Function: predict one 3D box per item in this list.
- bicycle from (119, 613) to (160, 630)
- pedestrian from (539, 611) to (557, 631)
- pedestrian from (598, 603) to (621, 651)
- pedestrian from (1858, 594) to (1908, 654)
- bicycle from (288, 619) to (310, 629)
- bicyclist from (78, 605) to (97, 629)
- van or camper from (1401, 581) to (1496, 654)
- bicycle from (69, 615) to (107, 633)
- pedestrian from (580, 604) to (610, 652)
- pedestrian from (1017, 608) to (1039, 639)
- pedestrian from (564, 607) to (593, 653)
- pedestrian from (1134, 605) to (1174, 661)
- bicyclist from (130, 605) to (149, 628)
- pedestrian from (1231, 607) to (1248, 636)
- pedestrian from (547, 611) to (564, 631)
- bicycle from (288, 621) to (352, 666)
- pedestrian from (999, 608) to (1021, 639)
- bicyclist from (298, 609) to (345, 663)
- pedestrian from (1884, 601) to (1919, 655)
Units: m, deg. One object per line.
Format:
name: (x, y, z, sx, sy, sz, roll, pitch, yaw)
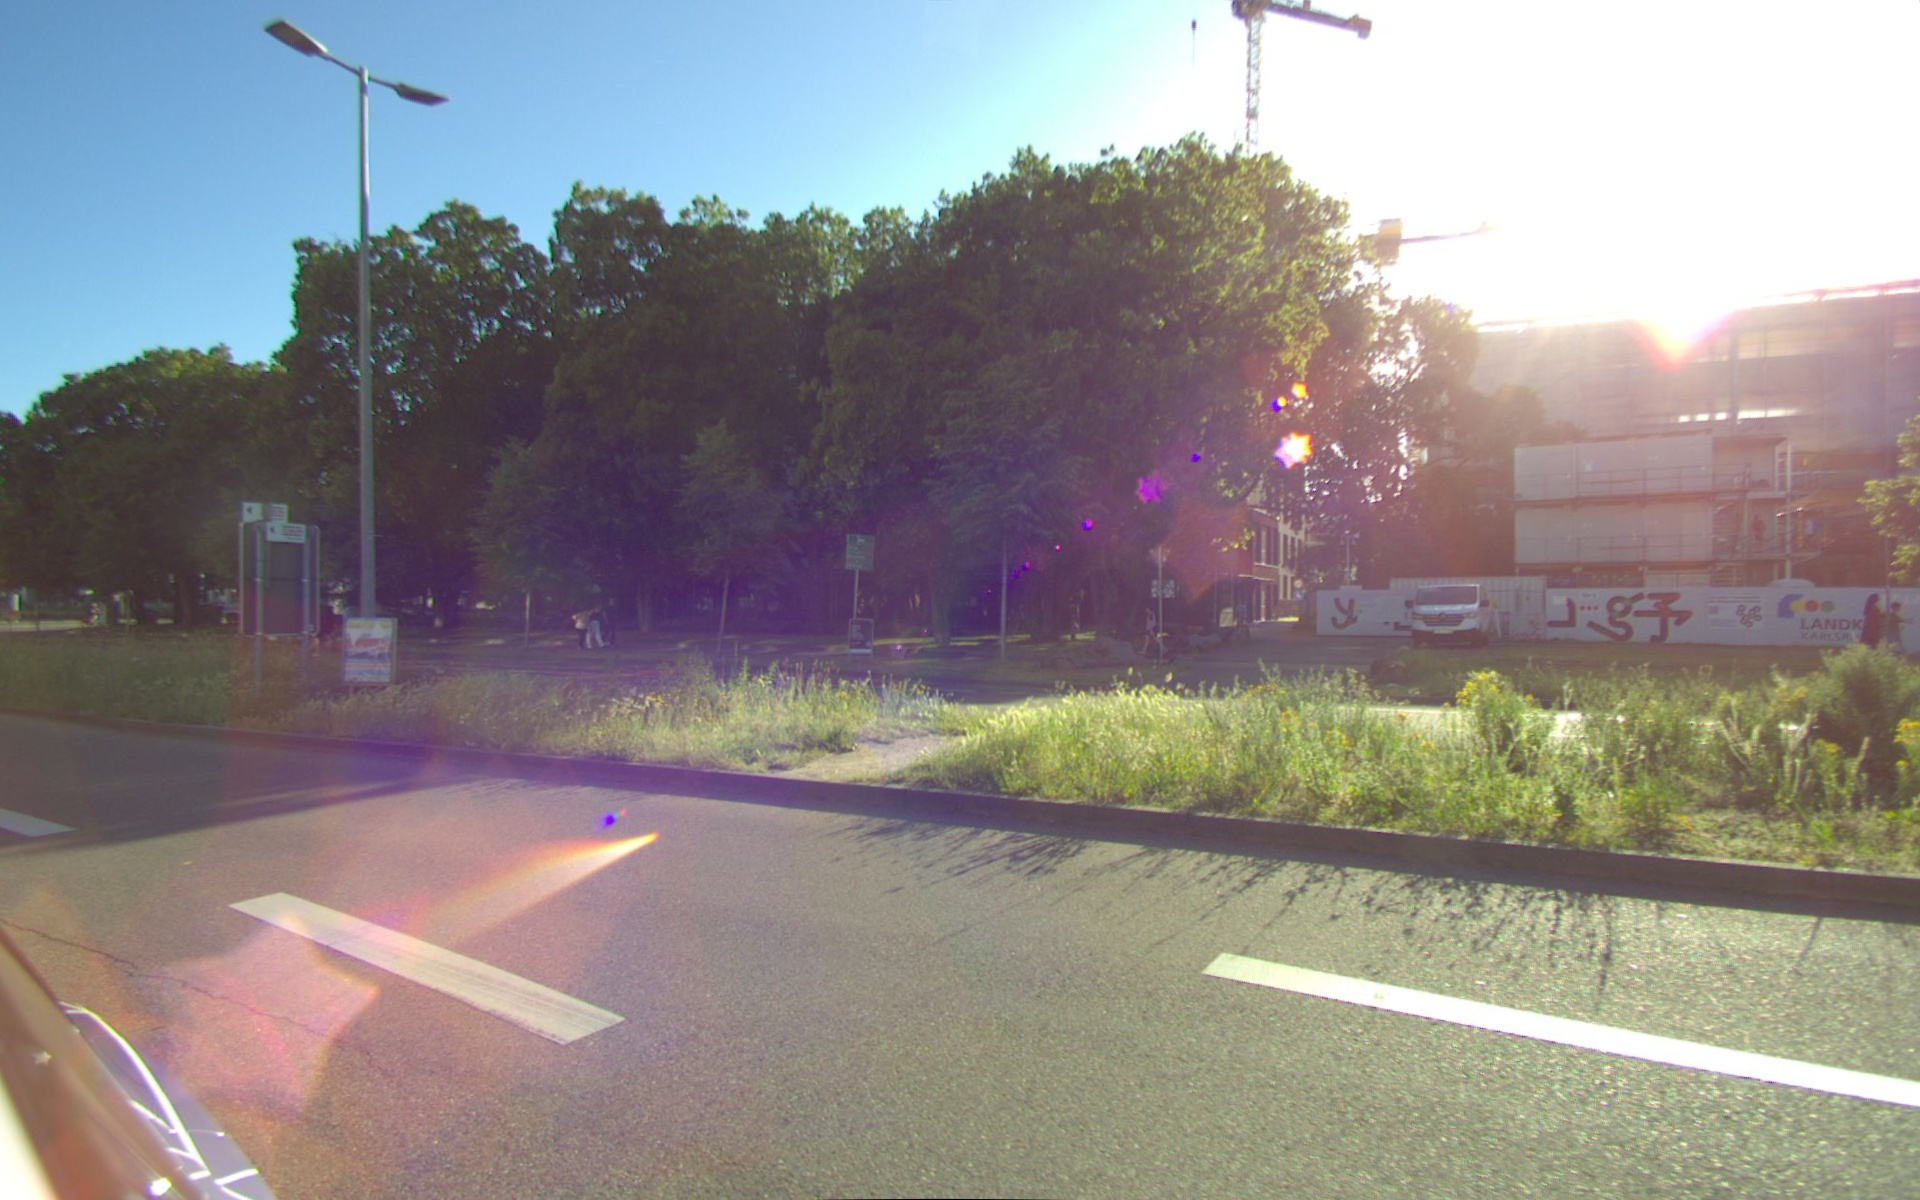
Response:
bicycle: (-63.091, 1.656, 77.828, 0.775, 1.249, 2.290, 1, 0, 29)
pedestrian: (-27.951, 1.419, 68.658, 0.663, 1.350, 0.899, -1, -1, 32)
pedestrian: (-13.164, 1.006, 38.031, 0.653, 1.753, 0.520, -1, -1, 33)
pedestrian: (24.755, 0.637, 27.163, 0.831, 1.570, 0.576, -1, -1, 27)
bicycle: (-57.168, 2.073, 87.538, 1.594, 0.895, 0.765, 0, -1, 21)
bicyclist: (-64.884, 1.288, 75.254, 0.751, 1.756, 0.830, 1, -1, 29)
van or camper: (15.382, 0.528, 31.662, 2.249, 2.029, 5.623, 1, 0, 30)
bicycle: (-64.867, 1.778, 75.306, 0.775, 1.249, 2.001, 1, 0, 28)
pedestrian: (-13.484, 1.021, 37.404, 0.758, 1.753, 0.765, -1, -1, 33)
pedestrian: (3.439, 1.198, 51.199, 0.888, 1.552, 0.898, -1, -1, 22)
pedestrian: (-13.900, 1.093, 36.878, 0.724, 1.653, 0.736, -1, -1, 33)
pedestrian: (5.440, 0.926, 28.352, 0.940, 1.539, 0.607, -1, -1, 34)
bicyclist: (-63.091, 1.277, 77.799, 0.772, 1.703, 0.916, 1, 0, 29)
pedestrian: (15.837, 1.200, 57.306, 0.743, 1.653, 0.718, -1, -1, 35)
pedestrian: (-27.315, 1.415, 68.322, 0.714, 1.350, 0.820, -1, -1, 32)
bicycle: (-19.841, 1.337, 31.371, 2.251, 1.285, 0.752, 1, 0, 32)
pedestrian: (2.564, 1.175, 51.610, 0.888, 1.552, 0.898, -1, -1, 22)
bicyclist: (-19.760, 1.091, 31.302, 1.198, 1.602, 0.741, 1, 0, 31)
pedestrian: (24.405, 0.718, 25.988, 0.831, 1.388, 0.576, -1, -1, 27)
